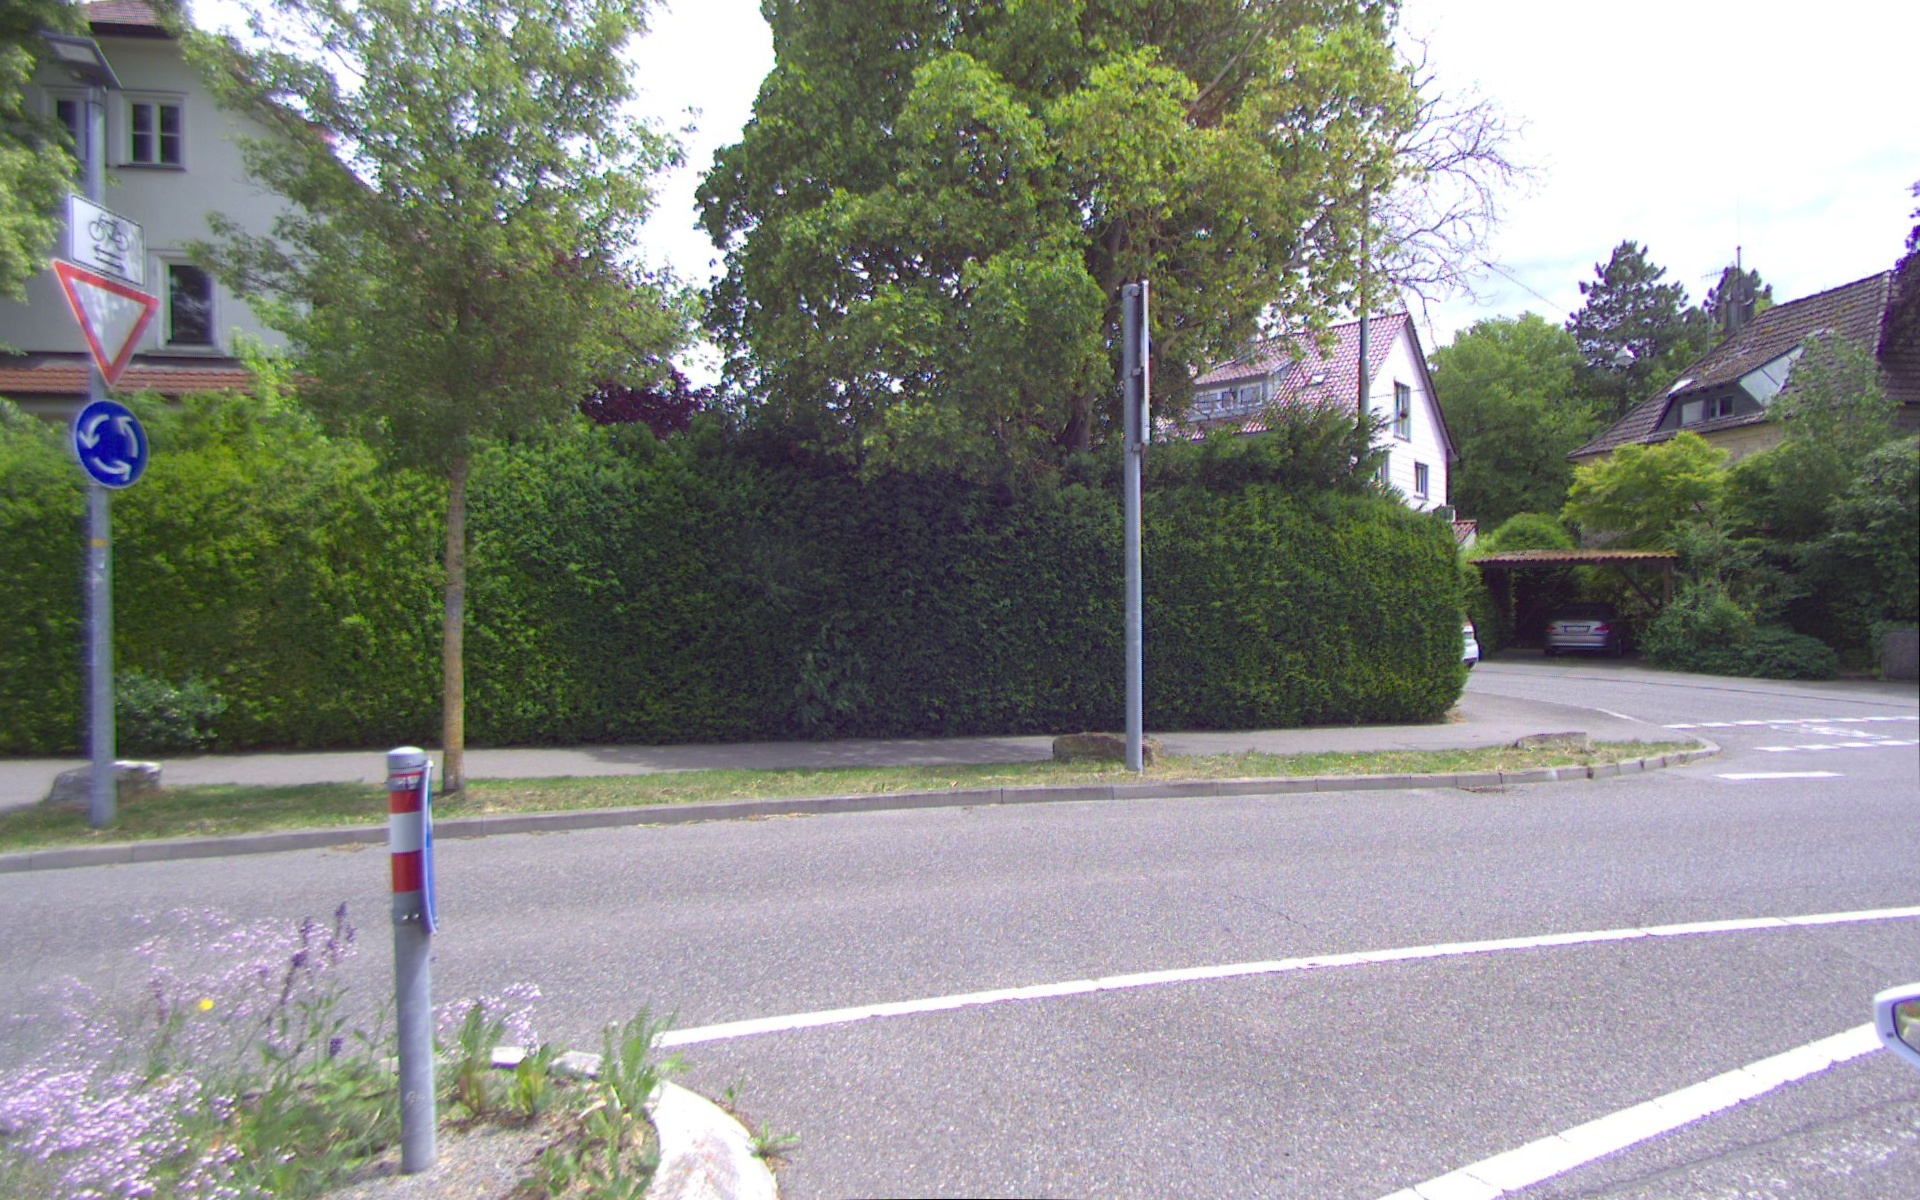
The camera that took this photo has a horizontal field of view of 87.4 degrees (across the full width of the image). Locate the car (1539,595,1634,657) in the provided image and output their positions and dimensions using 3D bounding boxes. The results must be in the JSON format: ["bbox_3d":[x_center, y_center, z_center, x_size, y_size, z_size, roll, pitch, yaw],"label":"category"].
[{"bbox_3d":[17.080,0.645,27.319,1.702,1.530,3.982,1,1,39],"label":"car"}]

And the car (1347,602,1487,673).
[{"bbox_3d":[11.189,0.871,24.646,1.579,1.576,2.741,1,1,-45],"label":"car"}]
